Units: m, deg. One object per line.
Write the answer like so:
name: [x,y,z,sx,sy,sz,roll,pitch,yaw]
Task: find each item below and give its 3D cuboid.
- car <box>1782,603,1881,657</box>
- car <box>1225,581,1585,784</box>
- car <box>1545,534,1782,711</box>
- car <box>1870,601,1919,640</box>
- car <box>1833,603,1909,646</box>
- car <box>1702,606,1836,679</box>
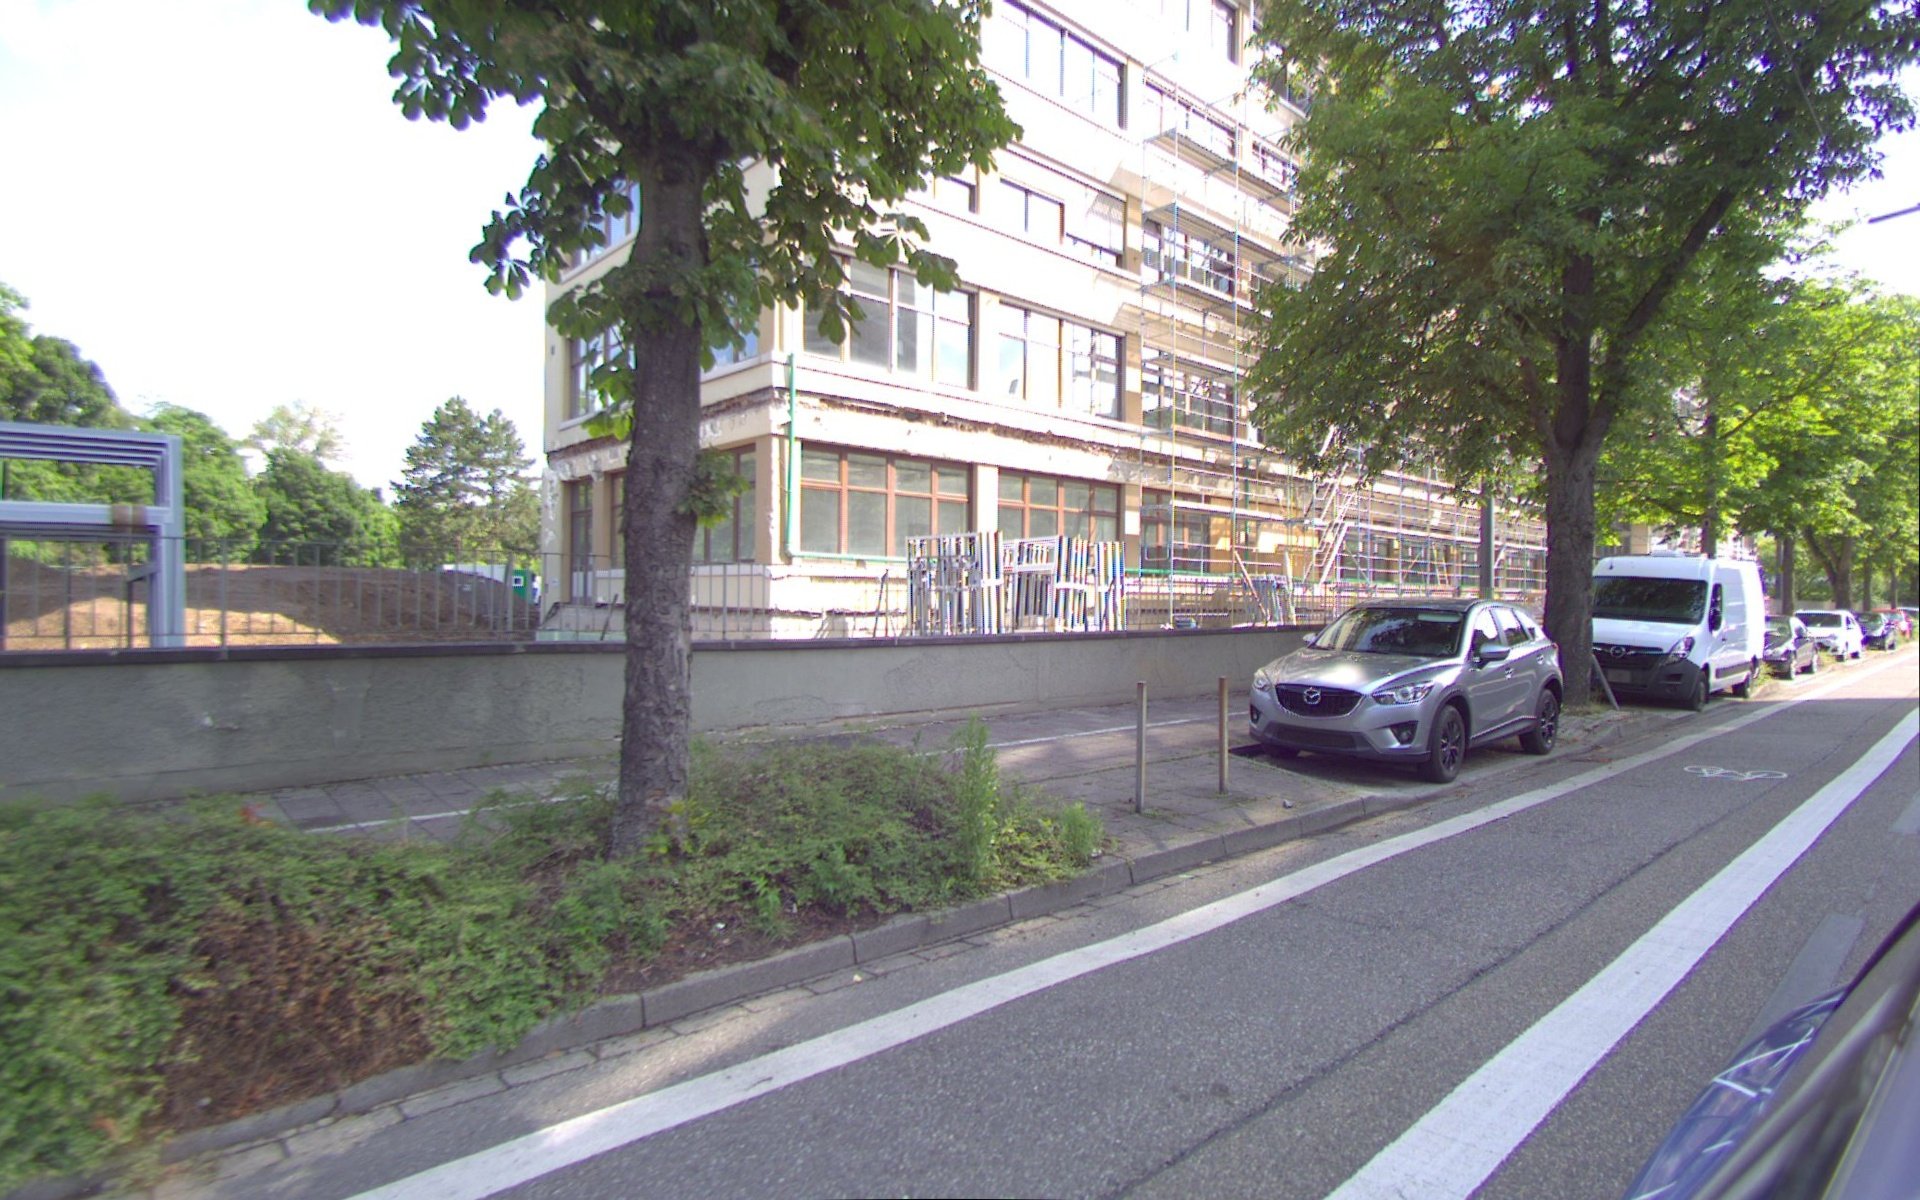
car: [26.134,0.861,30.309,3.825,1.475,1.568,0,1,-39]
car: [4.752,0.697,10.479,4.382,1.627,1.768,1,1,-43]
car: [12.428,0.271,17.678,5.819,2.599,2.126,0,3,-43]
car: [41.201,0.859,44.460,3.586,1.594,1.530,0,1,-43]
car: [33.403,0.859,37.086,3.569,1.415,1.734,0,1,-43]
car: [19.113,0.918,23.836,4.431,1.388,1.738,0,4,-43]
